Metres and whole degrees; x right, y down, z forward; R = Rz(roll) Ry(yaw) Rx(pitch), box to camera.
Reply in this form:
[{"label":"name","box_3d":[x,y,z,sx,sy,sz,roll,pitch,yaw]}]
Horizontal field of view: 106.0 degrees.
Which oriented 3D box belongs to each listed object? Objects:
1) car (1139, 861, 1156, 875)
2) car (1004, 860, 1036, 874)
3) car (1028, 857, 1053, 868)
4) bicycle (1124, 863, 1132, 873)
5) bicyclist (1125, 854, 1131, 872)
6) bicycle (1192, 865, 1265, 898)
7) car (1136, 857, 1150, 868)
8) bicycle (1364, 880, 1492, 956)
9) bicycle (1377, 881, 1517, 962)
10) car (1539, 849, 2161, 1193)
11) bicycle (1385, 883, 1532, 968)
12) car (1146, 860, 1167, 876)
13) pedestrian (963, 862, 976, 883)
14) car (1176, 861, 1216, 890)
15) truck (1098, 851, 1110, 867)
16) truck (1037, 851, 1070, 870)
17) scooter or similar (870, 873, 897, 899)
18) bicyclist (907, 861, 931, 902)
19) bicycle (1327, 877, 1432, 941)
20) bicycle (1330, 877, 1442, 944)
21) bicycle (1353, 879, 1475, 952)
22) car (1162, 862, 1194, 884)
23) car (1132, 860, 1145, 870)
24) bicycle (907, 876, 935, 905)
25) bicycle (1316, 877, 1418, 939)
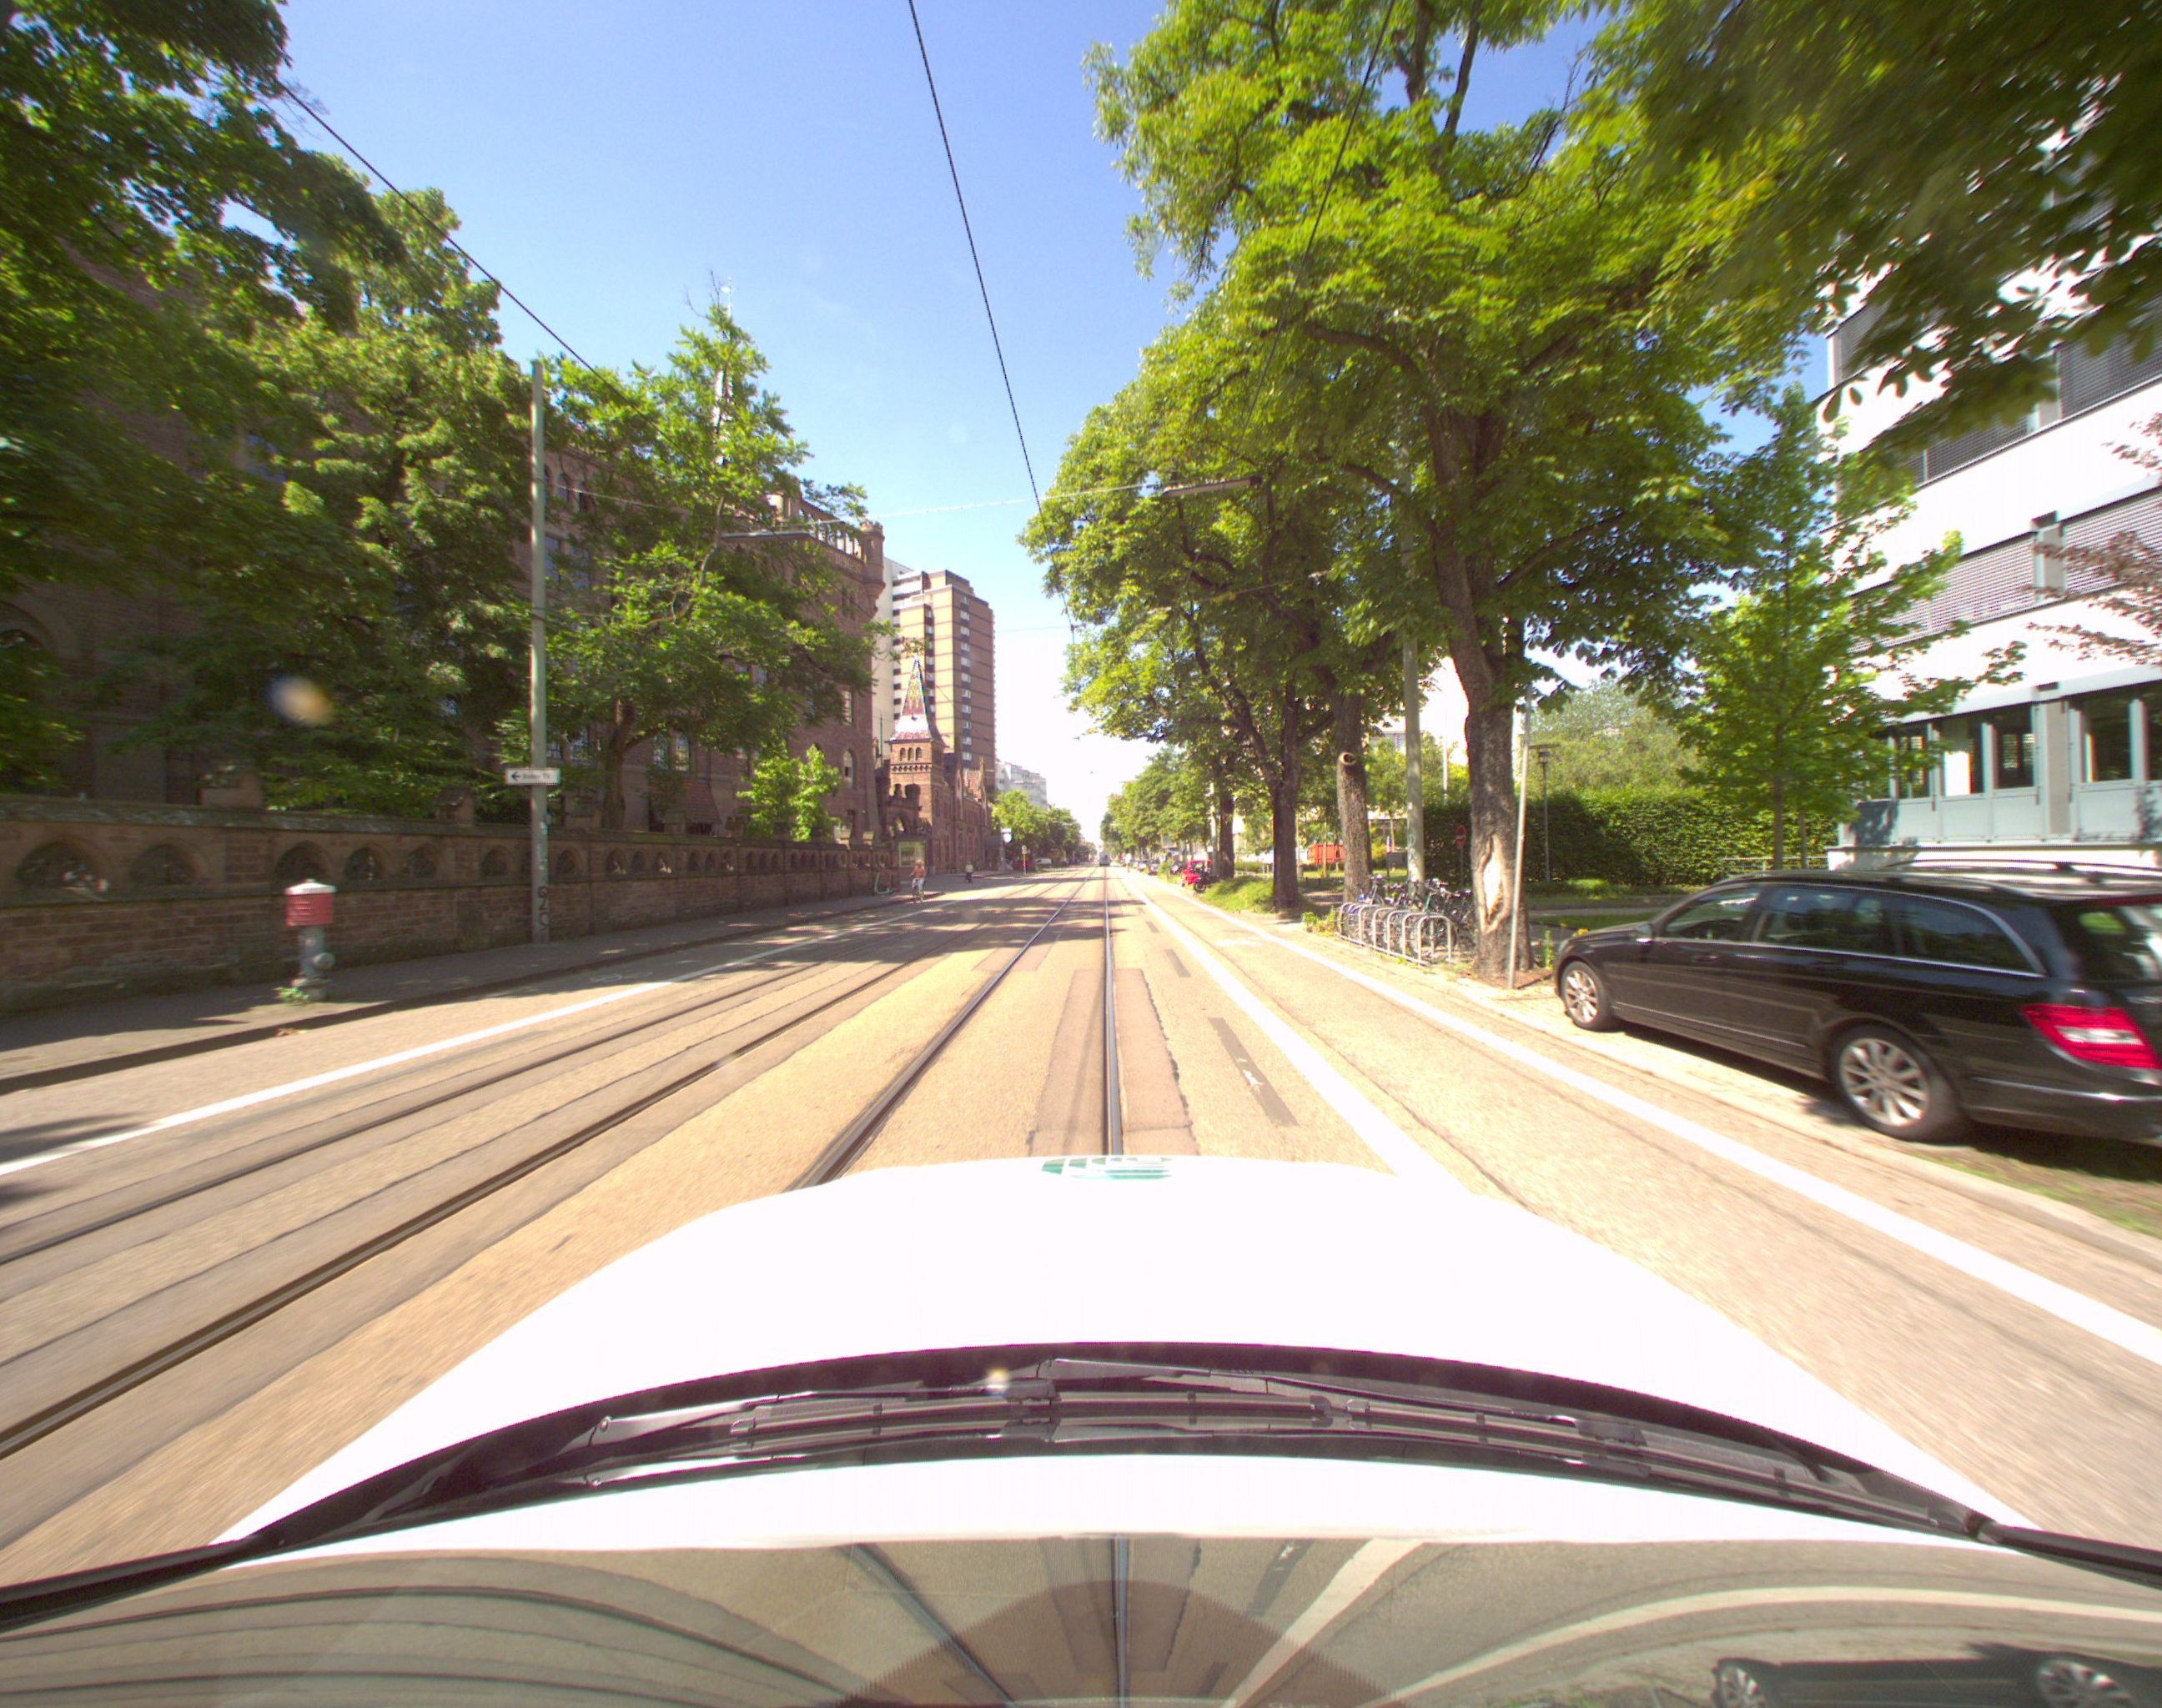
[{"label":"car","box_3d":[7.662,1.622,94.060,1.624,1.472,4.115,-2,0,2]},{"label":"car","box_3d":[-8.380,1.835,112.293,4.017,1.810,1.869,-1,-1,-36]},{"label":"car","box_3d":[-7.195,1.515,145.387,4.011,1.750,1.981,-1,-1,-29]},{"label":"bicycle","box_3d":[5.109,1.517,88.666,0.852,1.110,2.140,-1,-1,1]},{"label":"bicyclist","box_3d":[5.127,0.995,88.695,0.634,1.871,1.024,-2,-1,1]},{"label":"bicycle","box_3d":[6.408,1.181,35.501,3.014,1.332,1.042,-1,-1,4]},{"label":"car","box_3d":[8.078,1.094,106.693,1.624,1.472,4.115,-2,0,2]},{"label":"bicycle","box_3d":[5.328,0.972,12.562,1.718,1.086,0.570,-2,-1,0]},{"label":"bicycle","box_3d":[5.326,0.969,11.934,1.718,1.086,0.697,-2,-1,0]},{"label":"car","box_3d":[5.227,0.744,5.720,1.624,1.483,4.273,-1,-1,0]},{"label":"bicycle","box_3d":[5.203,0.972,11.277,1.718,1.086,0.629,-2,-1,0]},{"label":"car","box_3d":[7.023,1.272,76.175,1.624,1.472,4.115,-1,-1,2]},{"label":"pedestrian","box_3d":[-8.115,1.353,59.093,0.882,1.512,1.472,-1,-1,-7]},{"label":"car","box_3d":[6.257,1.128,44.634,1.625,1.472,3.718,-2,0,0]},{"label":"truck","box_3d":[4.698,1.085,167.372,2.393,3.109,6.039,-1,0,1]},{"label":"truck","box_3d":[-5.819,1.293,174.285,2.788,3.859,10.056,-2,-1,23]},{"label":"scooter or similar","box_3d":[-9.002,1.452,37.159,0.329,1.129,1.194,-2,-1,40]},{"label":"bicyclist","box_3d":[-6.761,1.132,34.040,0.722,1.698,1.147,-1,-1,1]},{"label":"bicycle","box_3d":[5.401,0.986,14.781,1.718,1.086,0.478,-2,-1,0]},{"label":"bicycle","box_3d":[5.312,0.979,14.243,1.718,1.086,0.615,-2,-1,0]},{"label":"bicycle","box_3d":[5.357,0.981,13.153,1.718,1.086,0.589,-2,-1,0]},{"label":"car","box_3d":[6.441,1.267,54.491,1.625,1.355,3.900,-2,0,0]},{"label":"car","box_3d":[8.423,1.636,119.678,1.624,1.472,4.115,-2,0,2]},{"label":"bicycle","box_3d":[-6.682,1.514,34.052,0.660,1.154,2.015,-1,-1,2]},{"label":"bicycle","box_3d":[5.349,0.995,15.266,1.718,1.086,0.478,-2,-1,0]}]
